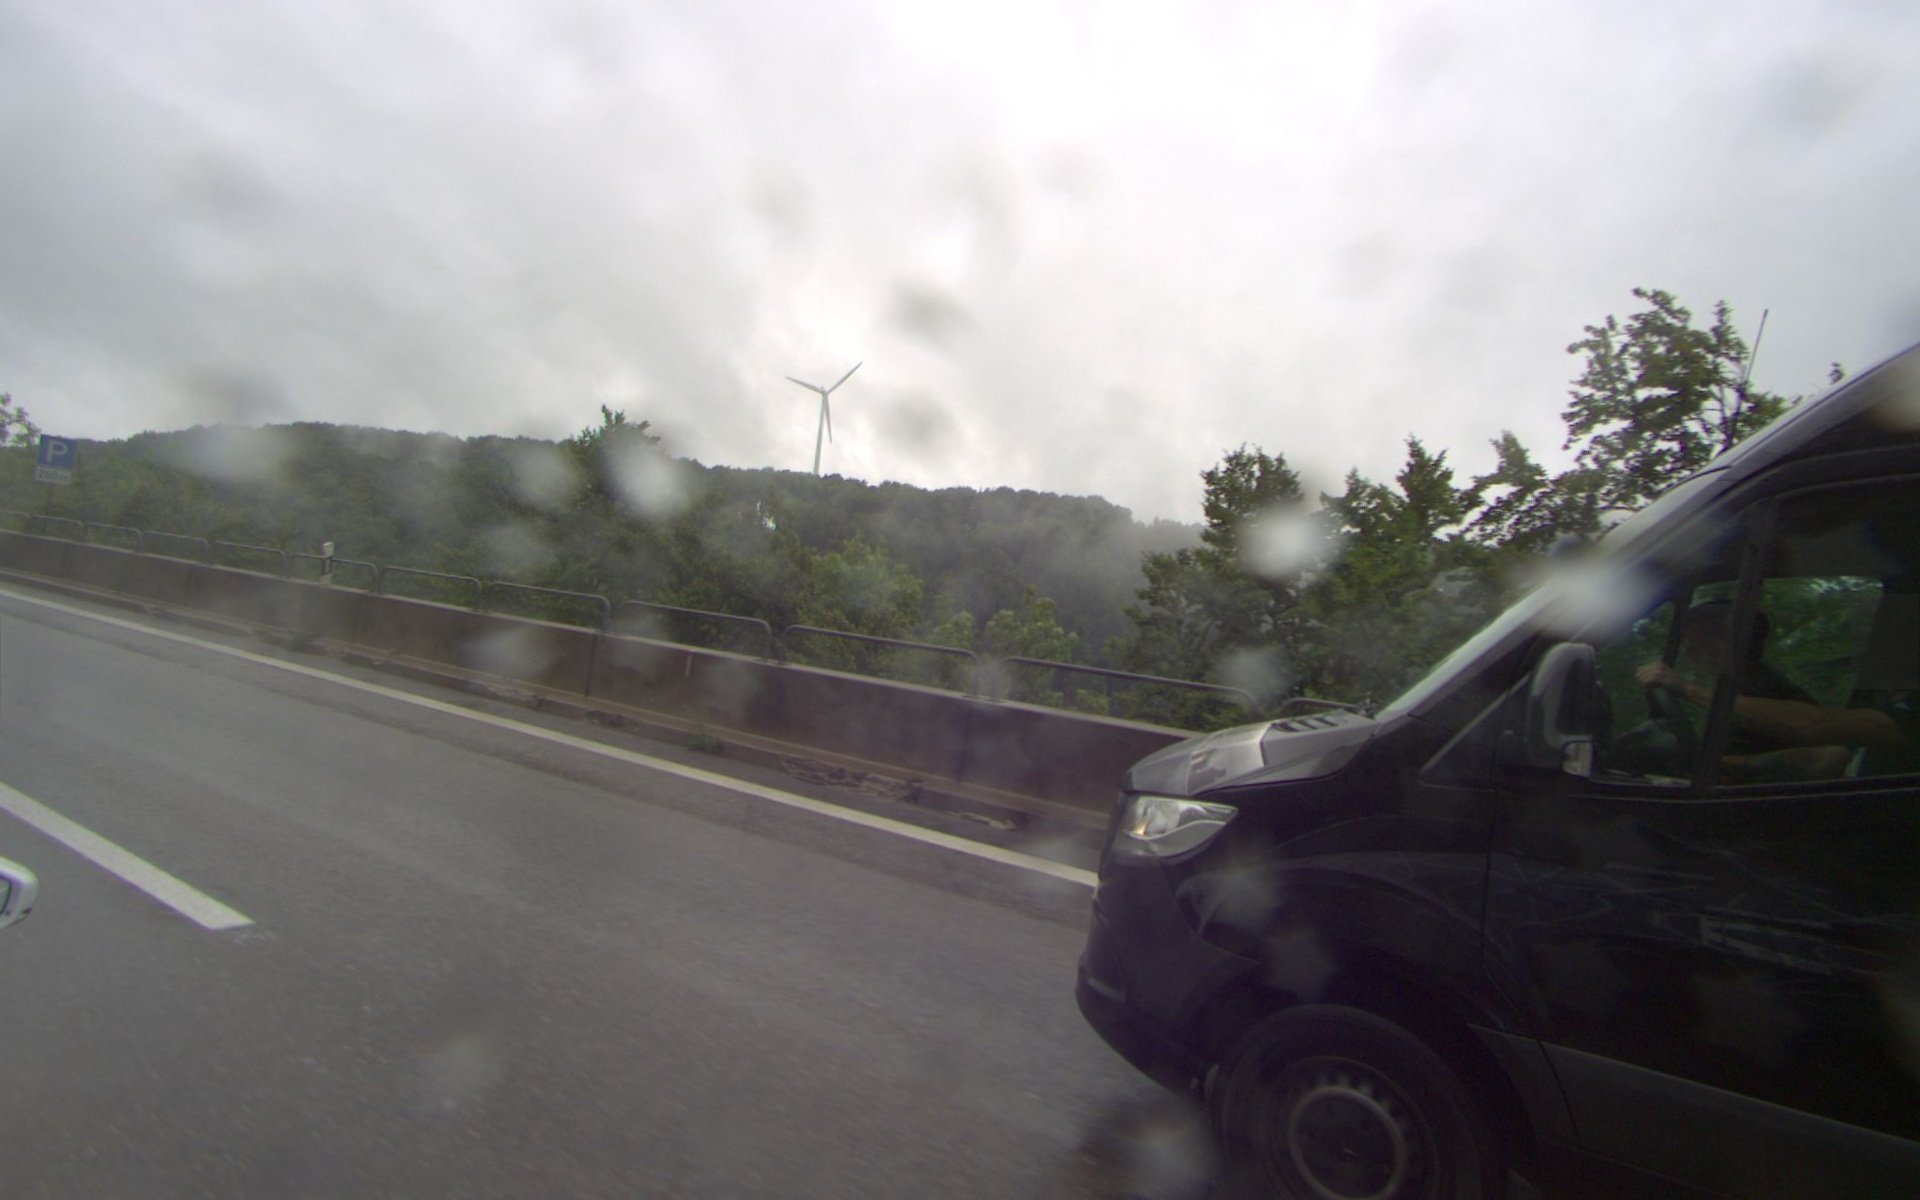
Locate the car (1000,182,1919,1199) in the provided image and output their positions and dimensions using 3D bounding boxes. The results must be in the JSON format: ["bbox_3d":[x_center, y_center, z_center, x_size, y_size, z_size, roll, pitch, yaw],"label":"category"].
[{"bbox_3d":[3.552,0.686,1.950,6.594,2.524,1.996,6,-1,32],"label":"car"}]
